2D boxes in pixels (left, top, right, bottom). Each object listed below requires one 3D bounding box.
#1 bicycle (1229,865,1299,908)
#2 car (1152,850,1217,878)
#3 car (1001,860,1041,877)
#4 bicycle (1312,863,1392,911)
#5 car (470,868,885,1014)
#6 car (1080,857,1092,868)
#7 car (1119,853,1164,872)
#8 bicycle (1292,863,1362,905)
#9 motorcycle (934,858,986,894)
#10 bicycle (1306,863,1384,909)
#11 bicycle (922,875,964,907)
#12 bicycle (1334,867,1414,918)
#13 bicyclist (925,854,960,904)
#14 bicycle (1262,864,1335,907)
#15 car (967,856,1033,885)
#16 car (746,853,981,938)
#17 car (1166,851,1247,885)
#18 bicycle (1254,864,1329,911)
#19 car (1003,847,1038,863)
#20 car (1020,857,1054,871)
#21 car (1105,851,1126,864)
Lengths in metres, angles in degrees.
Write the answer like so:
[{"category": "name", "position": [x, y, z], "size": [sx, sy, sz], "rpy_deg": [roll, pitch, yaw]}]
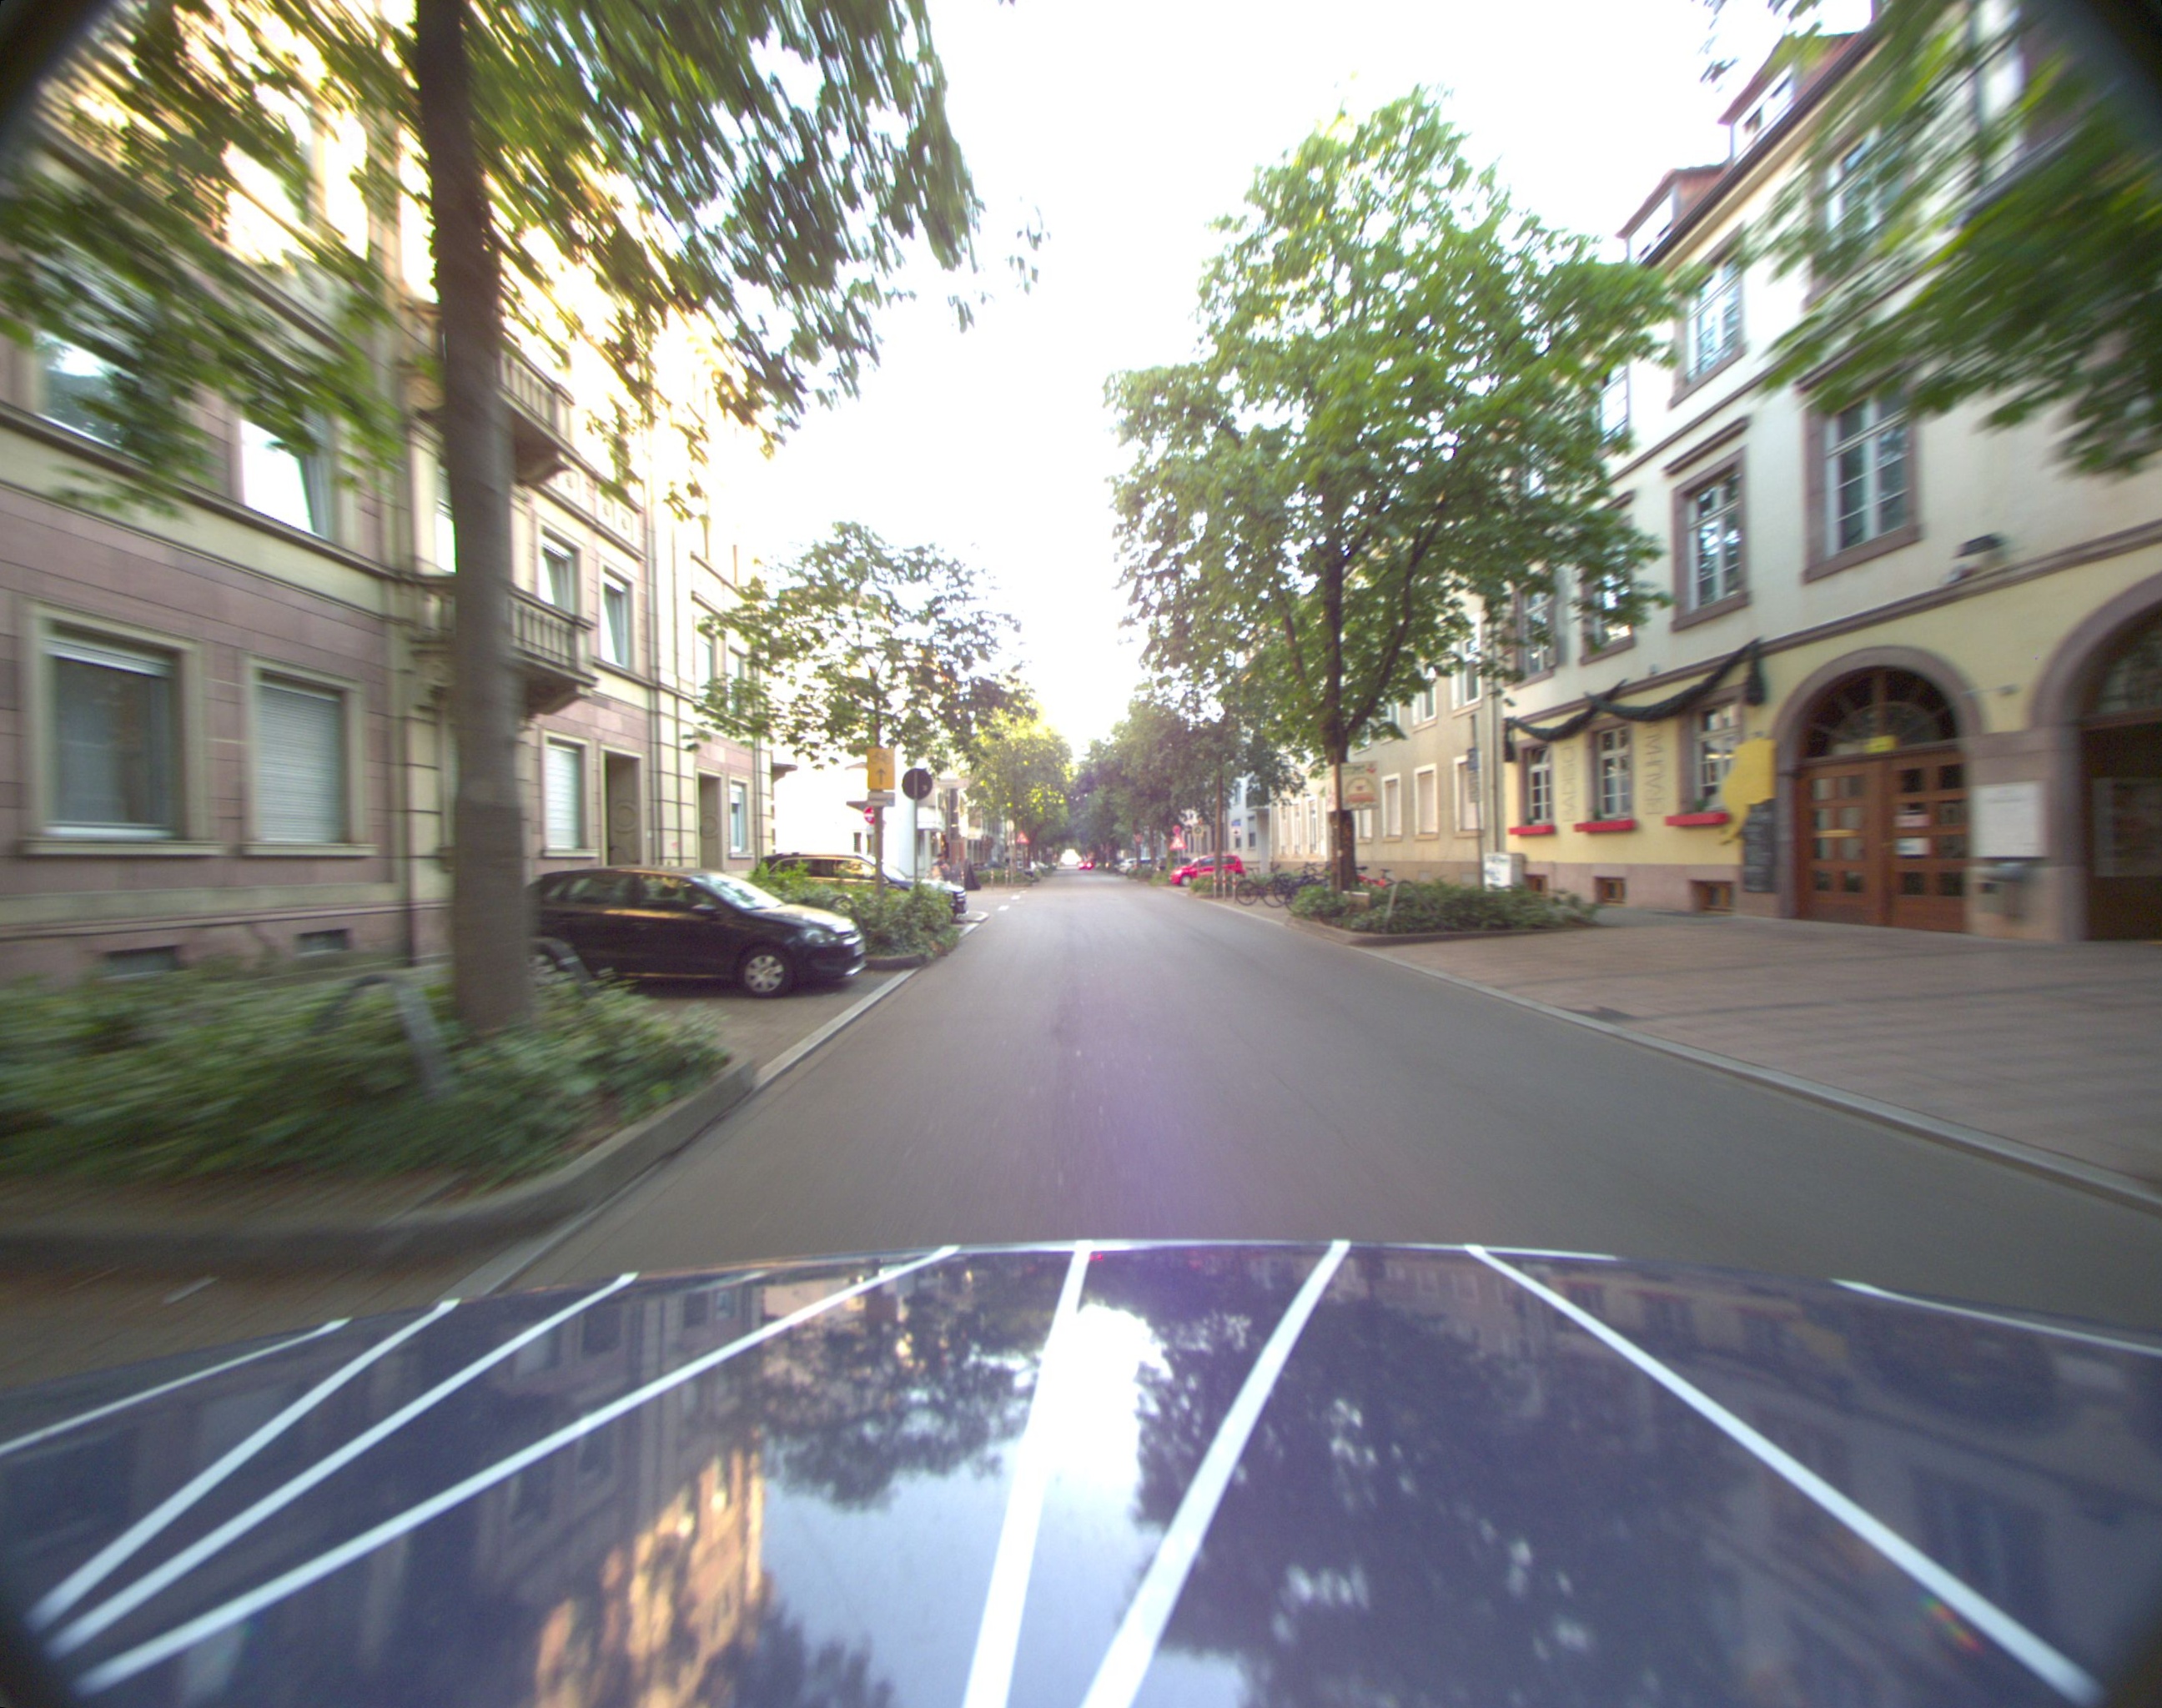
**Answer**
[{"category": "bicycle", "position": [5.256, 0.921, 21.838], "size": [1.869, 1.092, 0.480], "rpy_deg": [-3, 1, -7]}, {"category": "car", "position": [6.176, 0.599, 45.432], "size": [3.553, 1.411, 1.590], "rpy_deg": [-4, 0, -3]}, {"category": "car", "position": [-5.686, 1.350, 72.132], "size": [3.552, 1.411, 1.590], "rpy_deg": [-4, 0, -1]}, {"category": "bicycle", "position": [6.940, 0.830, 19.448], "size": [1.869, 1.093, 0.480], "rpy_deg": [-3, 1, -7]}, {"category": "car", "position": [-4.489, 0.948, 8.948], "size": [3.876, 1.419, 1.781], "rpy_deg": [2, 0, -2]}, {"category": "car", "position": [0.764, 1.275, 112.488], "size": [1.673, 1.411, 3.554], "rpy_deg": [-4, 0, 0]}, {"category": "car", "position": [5.054, 0.716, 63.953], "size": [3.552, 1.411, 1.590], "rpy_deg": [-4, 0, -1]}, {"category": "bicycle", "position": [7.156, 0.873, 22.116], "size": [1.869, 1.093, 0.480], "rpy_deg": [-3, 1, -7]}, {"category": "motorcycle", "position": [-5.640, 1.020, 35.483], "size": [2.248, 1.537, 0.772], "rpy_deg": [-3, 1, -16]}, {"category": "bicycle", "position": [6.986, 0.831, 20.144], "size": [1.869, 1.093, 0.509], "rpy_deg": [-3, 1, -7]}, {"category": "bicycle", "position": [-4.626, 1.227, 25.445], "size": [0.780, 0.967, 2.020], "rpy_deg": [-2, 0, -28]}, {"category": "bicycle", "position": [6.936, 0.897, 17.996], "size": [1.712, 1.093, 0.480], "rpy_deg": [-3, 1, -7]}, {"category": "bicyclist", "position": [-4.645, 0.838, 25.449], "size": [0.755, 1.612, 1.144], "rpy_deg": [-2, 1, -29]}, {"category": "bicycle", "position": [6.078, 0.878, 21.251], "size": [1.869, 1.093, 0.480], "rpy_deg": [-3, 1, -7]}, {"category": "car", "position": [-5.412, 1.120, 51.215], "size": [4.167, 1.665, 1.590], "rpy_deg": [-4, 0, -1]}, {"category": "car", "position": [-4.574, 0.841, 16.343], "size": [4.421, 1.552, 1.867], "rpy_deg": [2, 0, 6]}, {"category": "car", "position": [6.042, 0.661, 36.810], "size": [3.498, 1.397, 1.672], "rpy_deg": [-4, 0, -3]}, {"category": "bicycle", "position": [5.715, 0.900, 20.659], "size": [1.869, 1.138, 0.480], "rpy_deg": [-3, 1, -7]}, {"category": "car", "position": [-6.380, 0.100, 80.369], "size": [3.552, 1.411, 1.590], "rpy_deg": [-4, 0, -1]}, {"category": "car", "position": [-5.291, 1.243, 91.815], "size": [3.998, 1.565, 1.928], "rpy_deg": [-1, 0, -3]}, {"category": "car", "position": [3.851, 0.394, 85.595], "size": [1.999, 1.368, 3.999], "rpy_deg": [-2, 1, -1]}]
